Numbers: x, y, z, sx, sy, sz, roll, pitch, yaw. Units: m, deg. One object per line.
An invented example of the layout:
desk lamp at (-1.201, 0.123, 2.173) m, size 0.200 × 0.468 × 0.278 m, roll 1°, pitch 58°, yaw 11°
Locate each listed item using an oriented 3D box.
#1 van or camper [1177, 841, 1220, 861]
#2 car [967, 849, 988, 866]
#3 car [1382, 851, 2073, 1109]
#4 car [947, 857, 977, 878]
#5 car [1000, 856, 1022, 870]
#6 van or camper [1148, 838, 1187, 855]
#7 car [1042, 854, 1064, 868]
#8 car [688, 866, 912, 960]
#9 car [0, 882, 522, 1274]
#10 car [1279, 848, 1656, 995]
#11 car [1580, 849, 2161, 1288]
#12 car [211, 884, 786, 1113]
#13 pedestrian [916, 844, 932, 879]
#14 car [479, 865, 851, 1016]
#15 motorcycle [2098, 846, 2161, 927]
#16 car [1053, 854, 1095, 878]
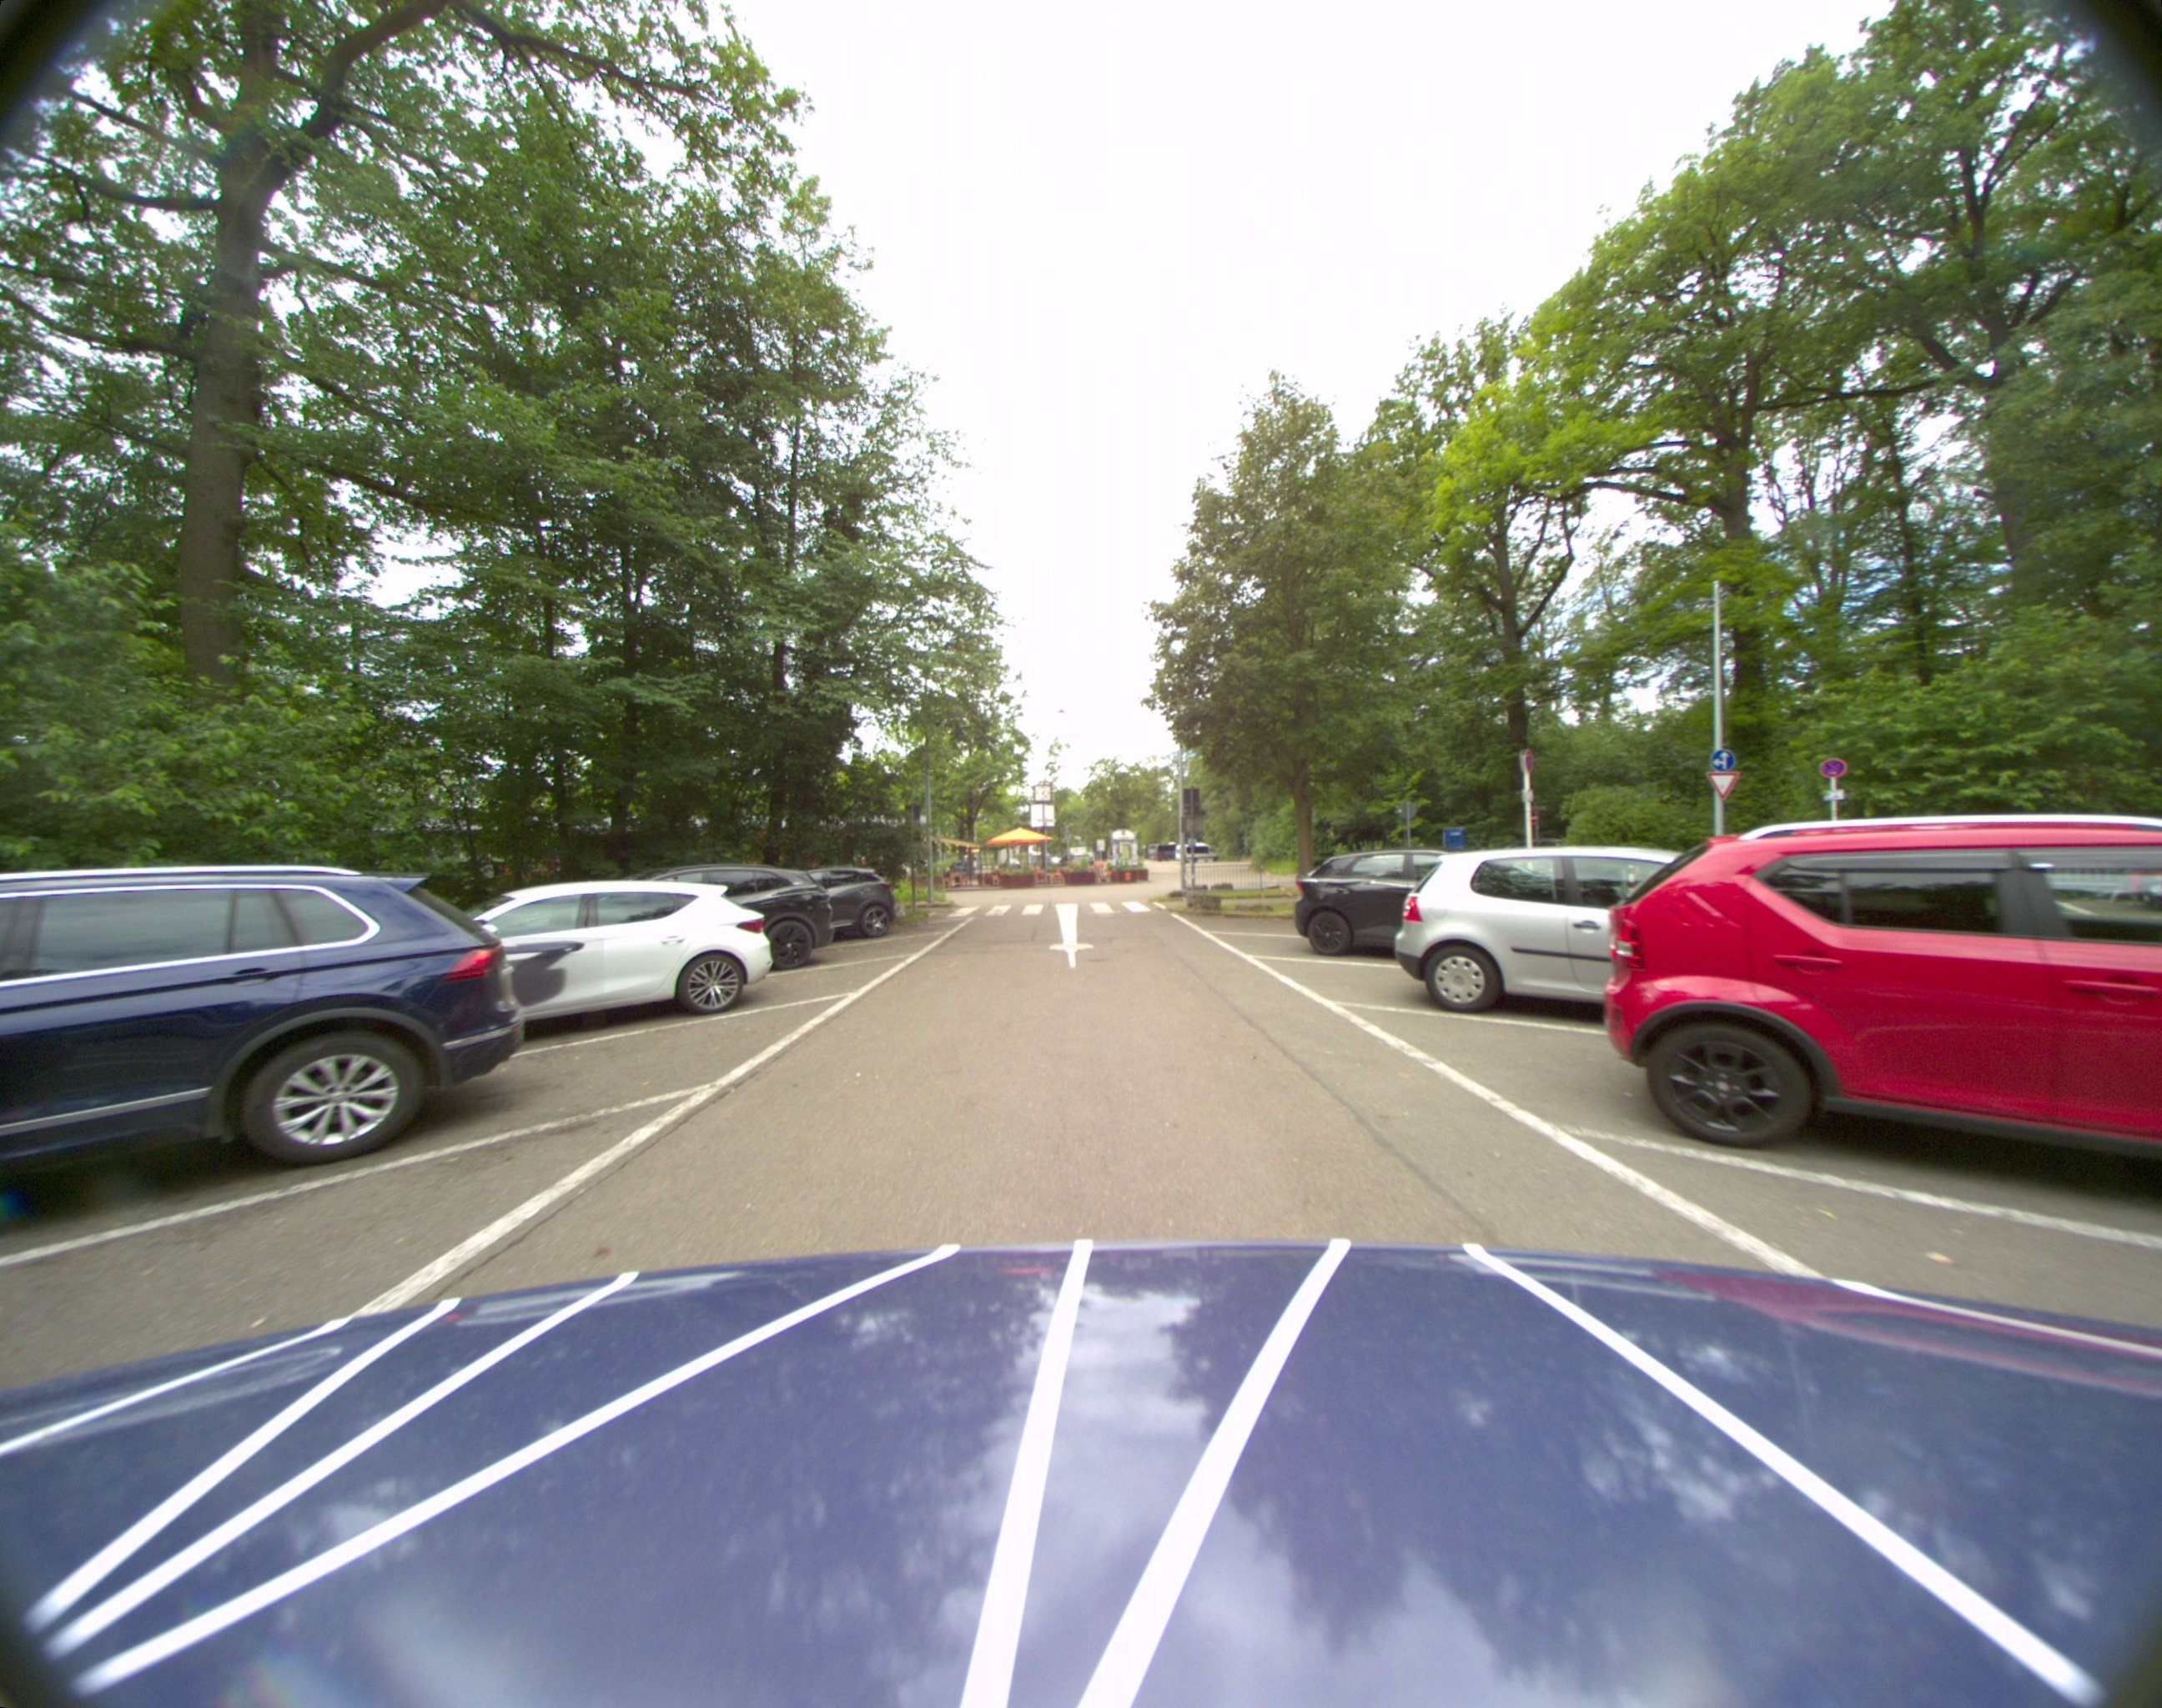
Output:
van or camper at (17.646, -0.481, 113.766) m, size 7.354 × 2.833 × 2.063 m, roll -2°, pitch 1°, yaw -40°
car at (-13.316, 0.445, 97.350) m, size 1.879 × 2.027 × 4.583 m, roll -2°, pitch 0°, yaw -17°
car at (4.956, 0.786, 6.493) m, size 3.989 × 1.475 × 1.880 m, roll -2°, pitch 1°, yaw 42°
car at (-9.476, 1.023, 60.378) m, size 2.001 × 1.543 × 3.995 m, roll -2°, pitch 0°, yaw -14°
car at (-9.140, 1.132, 99.203) m, size 1.879 × 1.769 × 4.289 m, roll -2°, pitch 0°, yaw -17°
van or camper at (15.651, -1.293, 137.497) m, size 7.353 × 2.833 × 2.198 m, roll -2°, pitch 1°, yaw -36°
car at (-3.763, 0.919, 100.889) m, size 1.879 × 1.769 × 4.289 m, roll -2°, pitch 0°, yaw -17°
car at (-5.503, 1.067, 15.202) m, size 1.695 × 1.483 × 3.799 m, roll -2°, pitch 1°, yaw 44°
car at (-5.528, 1.059, 3.844) m, size 4.127 × 1.608 × 1.837 m, roll -2°, pitch 1°, yaw -42°
car at (4.963, 0.750, 10.172) m, size 1.834 × 1.514 × 4.089 m, roll -3°, pitch 1°, yaw -43°
car at (4.543, 0.789, 3.387) m, size 3.644 × 1.576 × 1.690 m, roll -2°, pitch 0°, yaw 42°
car at (-5.422, 1.139, 7.634) m, size 4.127 × 1.430 × 1.864 m, roll -2°, pitch 0°, yaw -42°
pedestrian at (-8.233, 0.394, 39.859) m, size 0.750 × 1.820 × 0.709 m, roll -2°, pitch 1°, yaw -9°
car at (-5.748, 1.040, 10.899) m, size 1.952 × 1.571 × 4.211 m, roll -2°, pitch 0°, yaw 43°
motorcycle at (17.468, 0.505, 12.555) m, size 2.033 × 1.201 × 0.729 m, roll -2°, pitch 1°, yaw -35°
car at (-0.576, 0.850, 54.985) m, size 1.937 × 1.660 × 4.339 m, roll -2°, pitch 0°, yaw -16°
